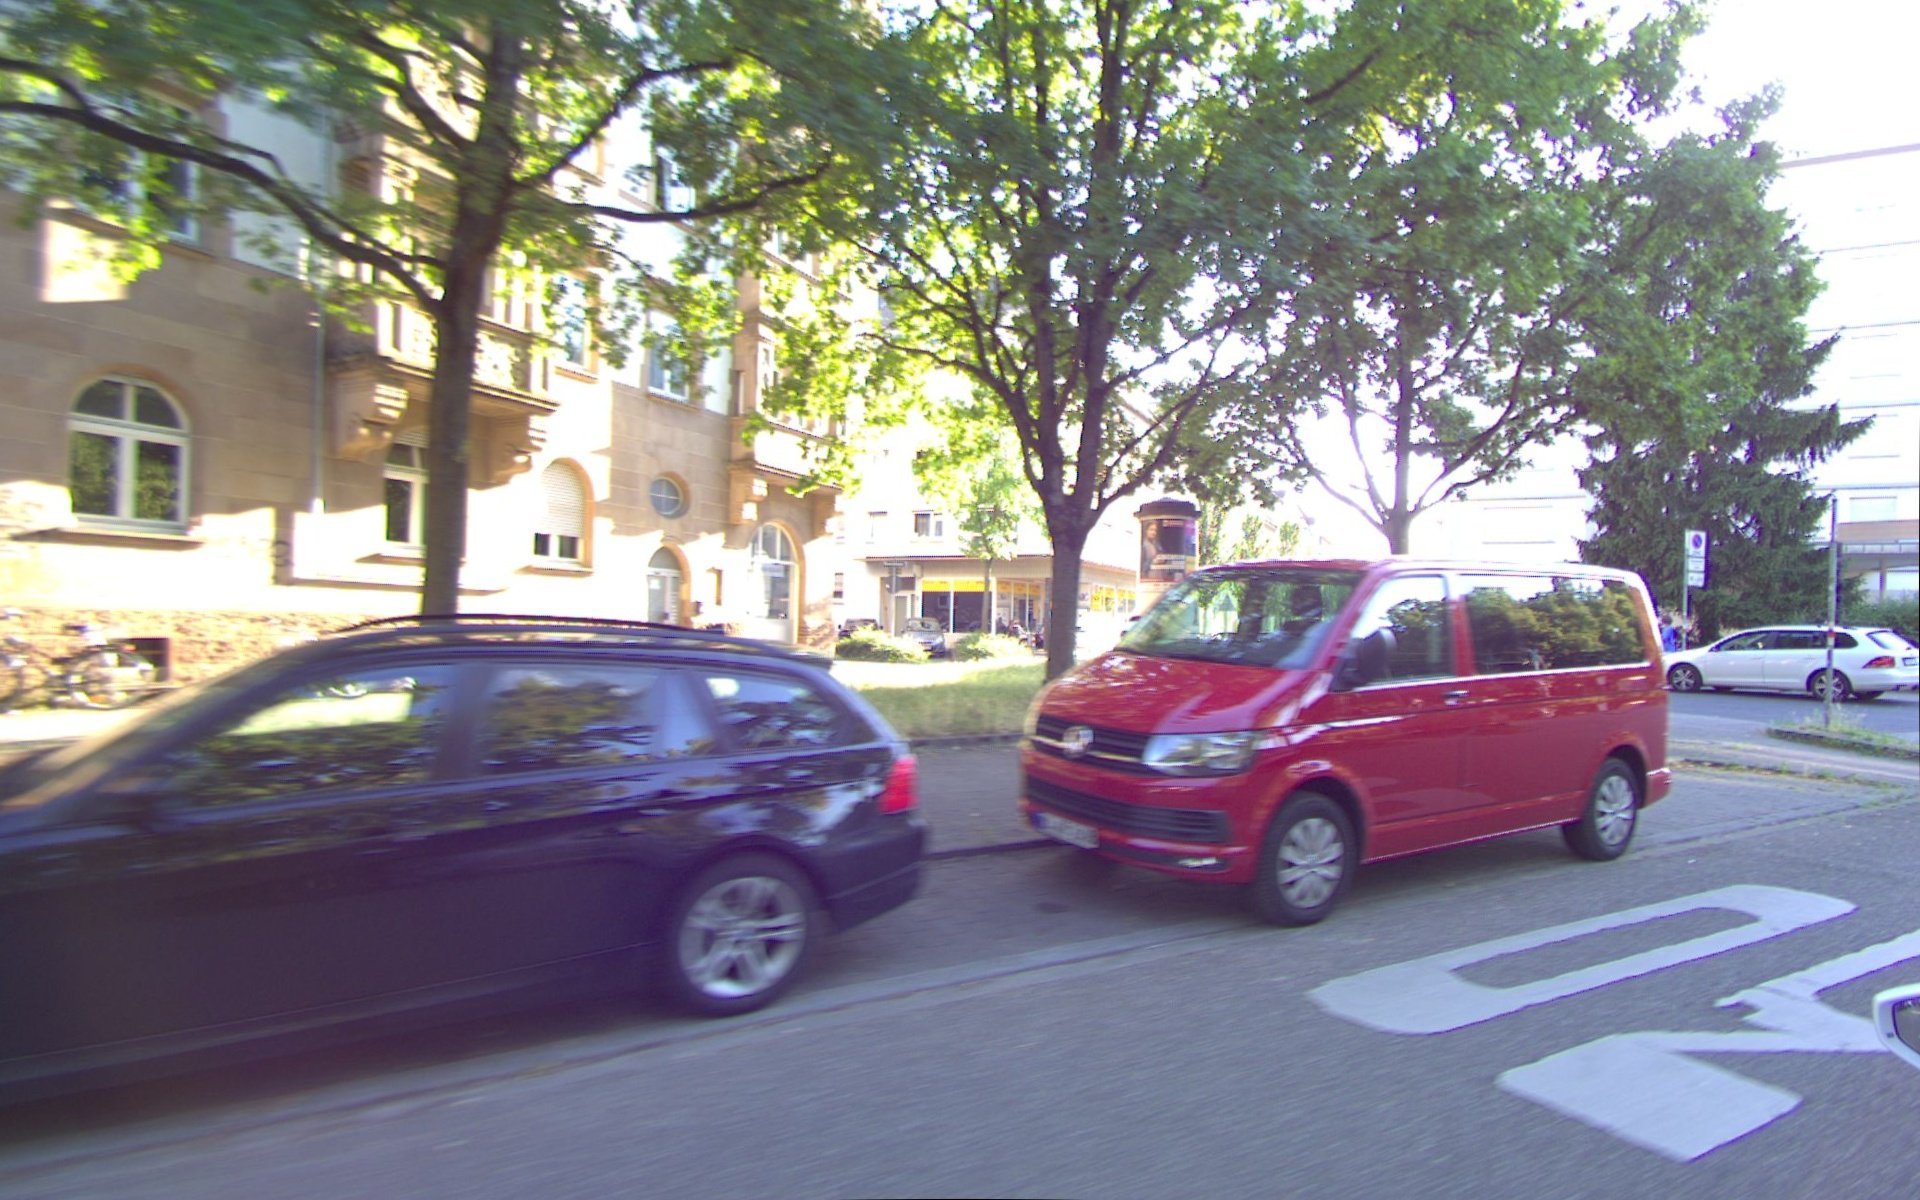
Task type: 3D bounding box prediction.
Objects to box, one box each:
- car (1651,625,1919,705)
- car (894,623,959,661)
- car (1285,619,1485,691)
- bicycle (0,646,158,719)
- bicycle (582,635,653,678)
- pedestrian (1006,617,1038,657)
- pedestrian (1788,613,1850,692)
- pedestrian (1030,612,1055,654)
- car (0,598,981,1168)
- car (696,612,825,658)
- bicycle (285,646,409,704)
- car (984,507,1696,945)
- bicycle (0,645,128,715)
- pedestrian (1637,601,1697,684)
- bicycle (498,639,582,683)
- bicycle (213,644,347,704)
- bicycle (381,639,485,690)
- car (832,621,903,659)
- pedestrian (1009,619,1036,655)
[{"bbox_3d":[17.286,1.275,21.047,1.898,1.470,4.267,1,-1,-27],"label":"car"},{"bbox_3d":[-1.263,1.645,39.804,1.835,1.418,4.003,1,-2,9],"label":"car"},{"bbox_3d":[10.727,1.348,25.704,1.920,1.669,4.498,2,-2,-30],"label":"car"},{"bbox_3d":[-9.910,0.890,11.174,0.407,0.742,1.509,0,-2,24],"label":"bicycle"},{"bbox_3d":[-6.559,1.079,19.320,0.362,0.742,1.509,0,0,24],"label":"bicycle"},{"bbox_3d":[2.667,1.576,43.214,0.946,1.688,1.214,0,-2,27],"label":"pedestrian"},{"bbox_3d":[19.726,1.198,23.071,0.861,1.759,0.824,2,0,-31],"label":"pedestrian"},{"bbox_3d":[3.727,1.489,45.482,0.836,1.899,0.890,0,-1,26],"label":"pedestrian"},{"bbox_3d":[-2.172,0.772,3.892,4.224,1.453,1.766,2,0,-32],"label":"car"},{"bbox_3d":[-6.702,1.149,33.678,3.927,1.418,1.871,0,-2,28],"label":"car"},{"bbox_3d":[-8.484,1.015,13.967,0.362,0.742,1.509,0,-2,24],"label":"bicycle"},{"bbox_3d":[2.624,0.606,6.489,4.719,1.959,1.766,2,0,-32],"label":"car"},{"bbox_3d":[-10.315,0.880,11.255,0.362,0.742,1.509,0,-2,24],"label":"bicycle"},{"bbox_3d":[17.754,1.055,25.233,0.853,2.040,0.978,2,-2,-30],"label":"pedestrian"},{"bbox_3d":[-7.397,1.063,17.762,0.362,0.742,1.509,0,-2,24],"label":"bicycle"},{"bbox_3d":[-9.109,0.968,13.512,0.362,0.742,1.509,0,-2,24],"label":"bicycle"},{"bbox_3d":[-8.152,0.989,15.601,0.362,0.742,1.509,0,-2,24],"label":"bicycle"},{"bbox_3d":[-3.646,1.585,40.268,1.835,1.418,4.003,1,-2,9],"label":"car"},{"bbox_3d":[2.785,1.630,44.606,0.875,1.590,0.963,0,-2,27],"label":"pedestrian"}]
